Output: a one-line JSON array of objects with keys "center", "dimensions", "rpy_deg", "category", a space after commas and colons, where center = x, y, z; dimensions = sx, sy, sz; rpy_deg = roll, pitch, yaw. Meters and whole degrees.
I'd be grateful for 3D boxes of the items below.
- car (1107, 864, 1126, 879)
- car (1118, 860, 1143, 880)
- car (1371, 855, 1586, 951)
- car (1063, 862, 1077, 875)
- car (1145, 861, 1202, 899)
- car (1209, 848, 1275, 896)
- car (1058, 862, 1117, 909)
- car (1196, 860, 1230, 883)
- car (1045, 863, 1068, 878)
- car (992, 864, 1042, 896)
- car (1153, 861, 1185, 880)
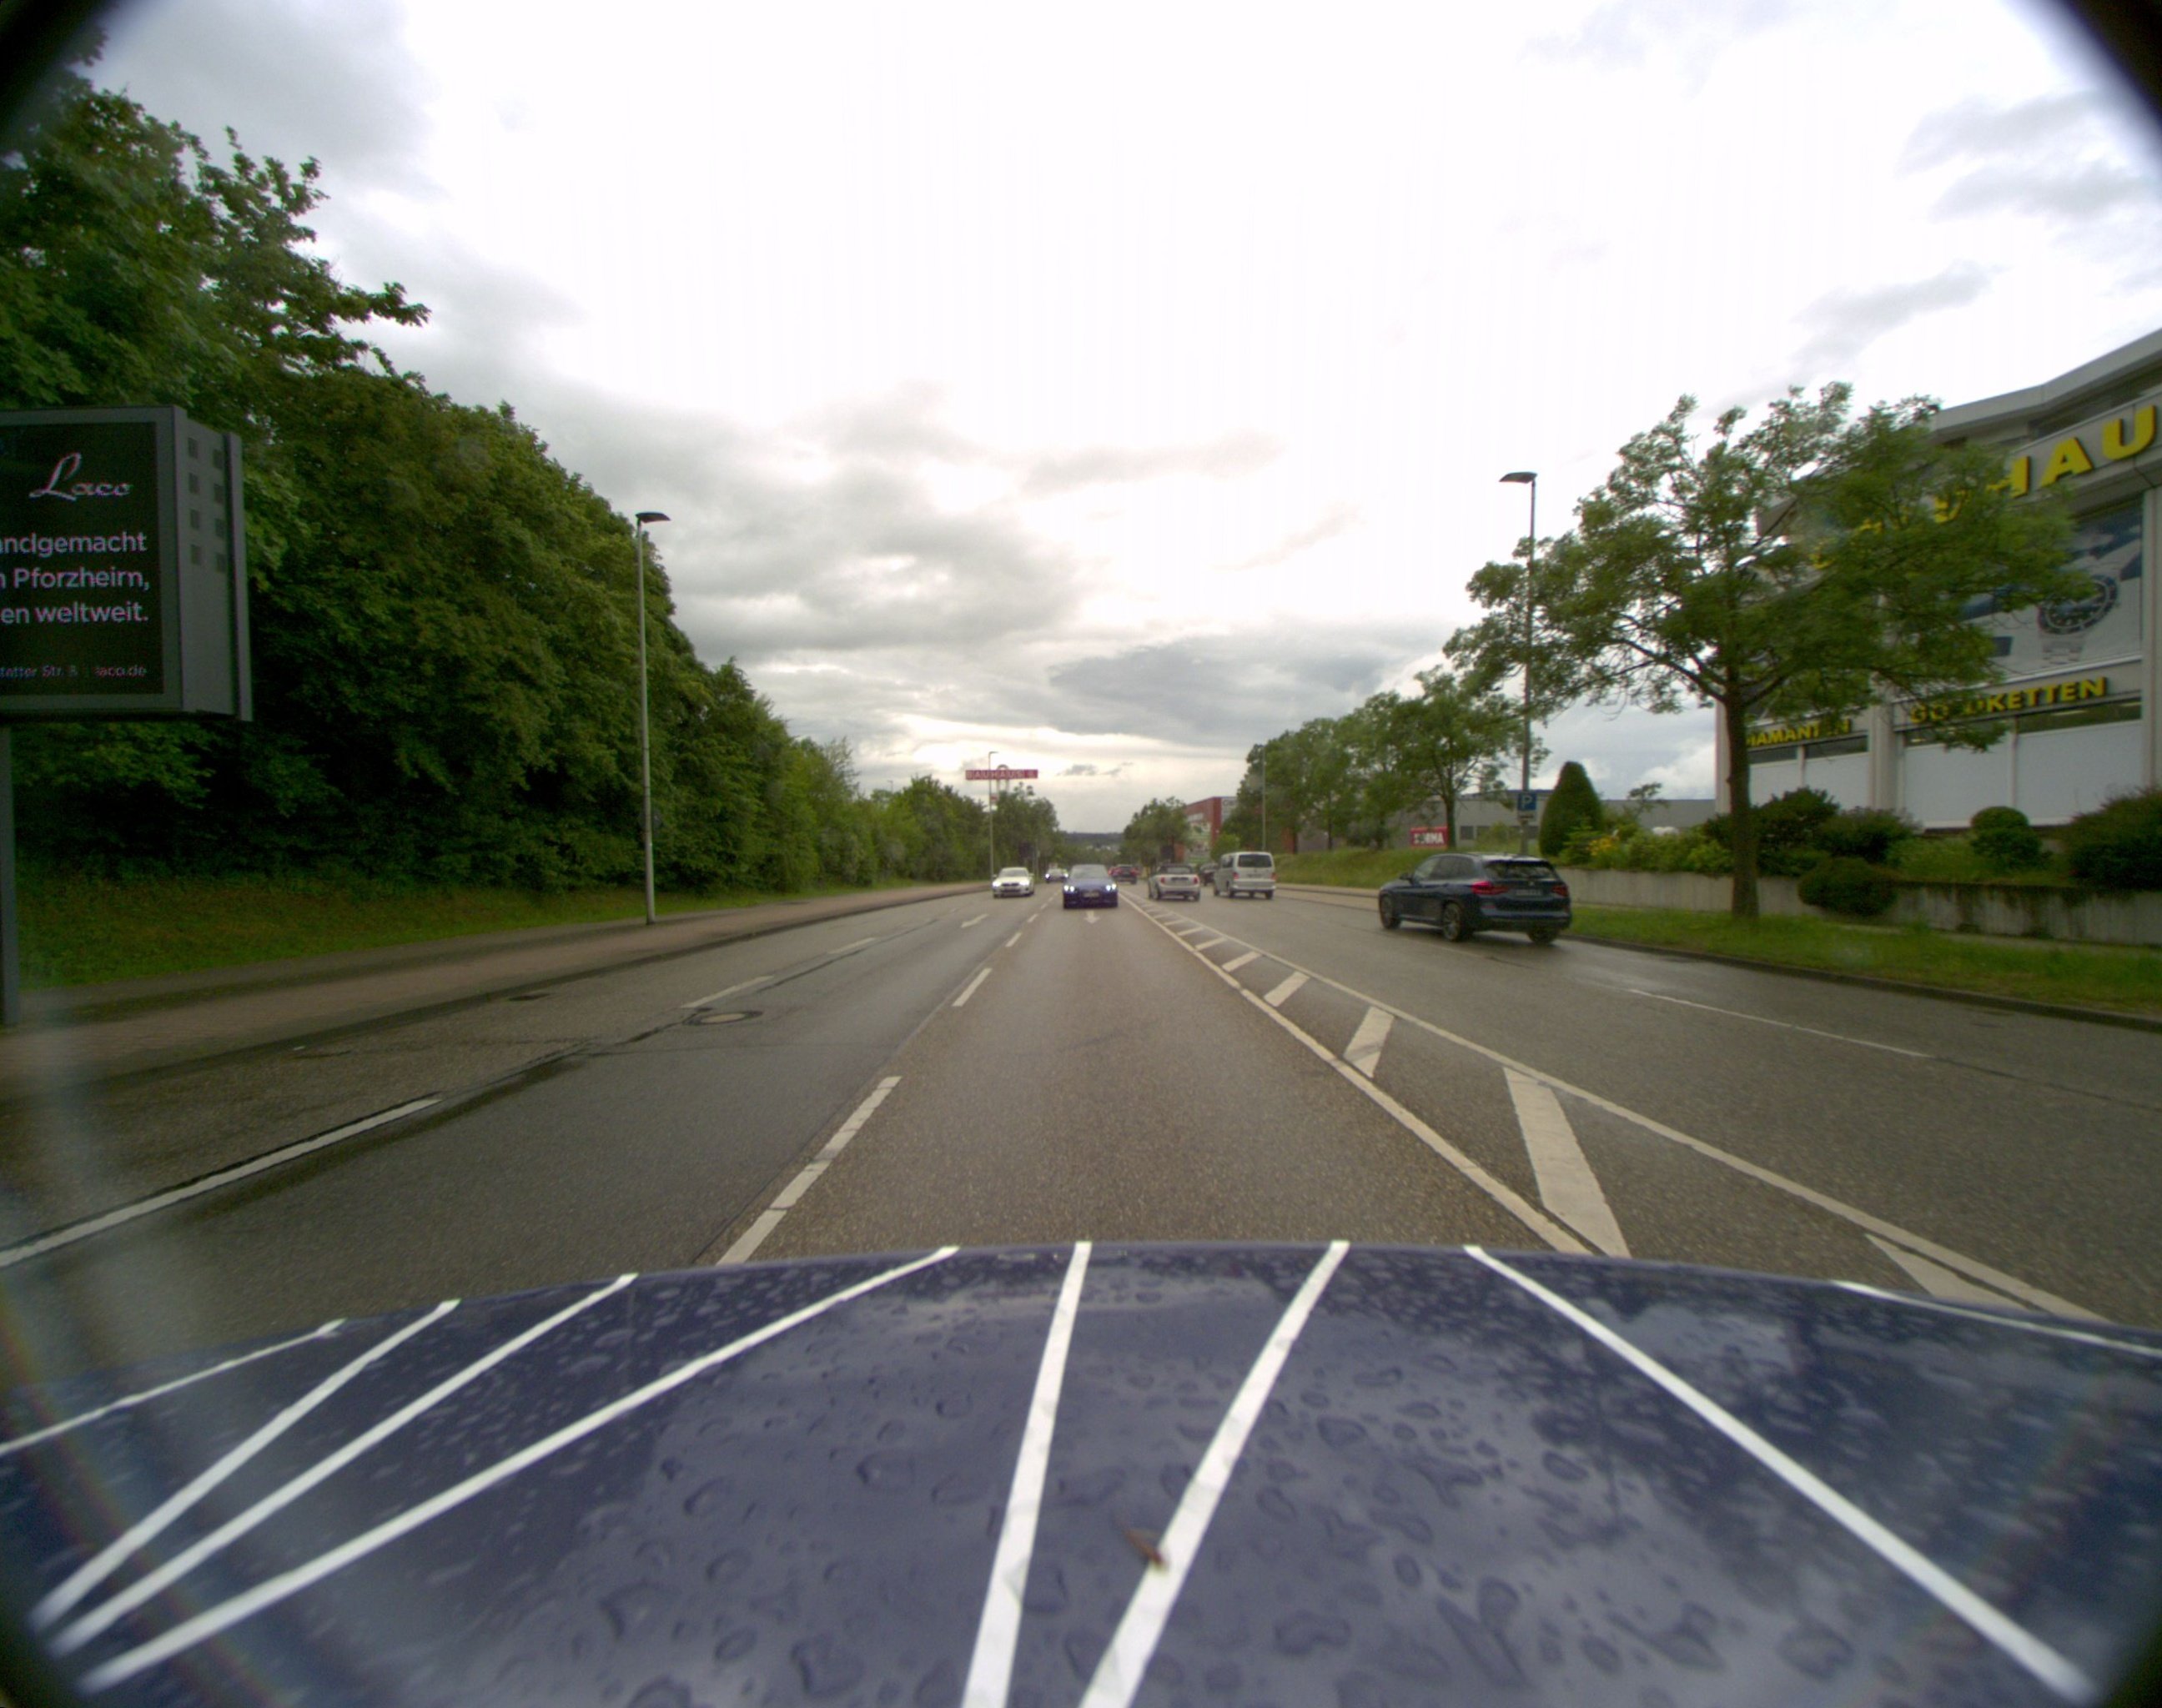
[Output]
[{"center": [3.908, 1.941, 83.151], "dimensions": [1.800, 1.574, 4.198], "rpy_deg": [0, -1, -1], "category": "car"}, {"center": [4.138, 1.328, 64.223], "dimensions": [1.827, 1.598, 4.283], "rpy_deg": [0, 0, 0], "category": "car"}, {"center": [7.570, 0.844, 15.066], "dimensions": [1.756, 1.601, 4.532], "rpy_deg": [1, 0, -2], "category": "car"}, {"center": [-1.473, 1.905, 101.085], "dimensions": [1.853, 1.565, 3.999], "rpy_deg": [-2, 0, -1], "category": "car"}, {"center": [3.704, 1.013, 30.929], "dimensions": [1.671, 1.390, 3.999], "rpy_deg": [1, 0, -2], "category": "car"}, {"center": [7.055, 0.762, 33.757], "dimensions": [1.800, 1.971, 4.898], "rpy_deg": [1, 0, -1], "category": "car"}, {"center": [0.319, 1.046, 26.971], "dimensions": [1.827, 1.473, 4.841], "rpy_deg": [-2, -1, 2], "category": "car"}, {"center": [9.933, 1.301, 57.547], "dimensions": [1.730, 1.658, 4.488], "rpy_deg": [-2, -1, 0], "category": "car"}, {"center": [-2.581, 1.765, 81.729], "dimensions": [2.113, 1.609, 4.842], "rpy_deg": [-1, -1, 2], "category": "car"}, {"center": [-3.168, 1.289, 38.622], "dimensions": [1.863, 1.473, 4.002], "rpy_deg": [-1, -1, 5], "category": "car"}, {"center": [6.851, 1.280, 59.570], "dimensions": [1.798, 1.393, 4.299], "rpy_deg": [0, 0, -4], "category": "car"}]
